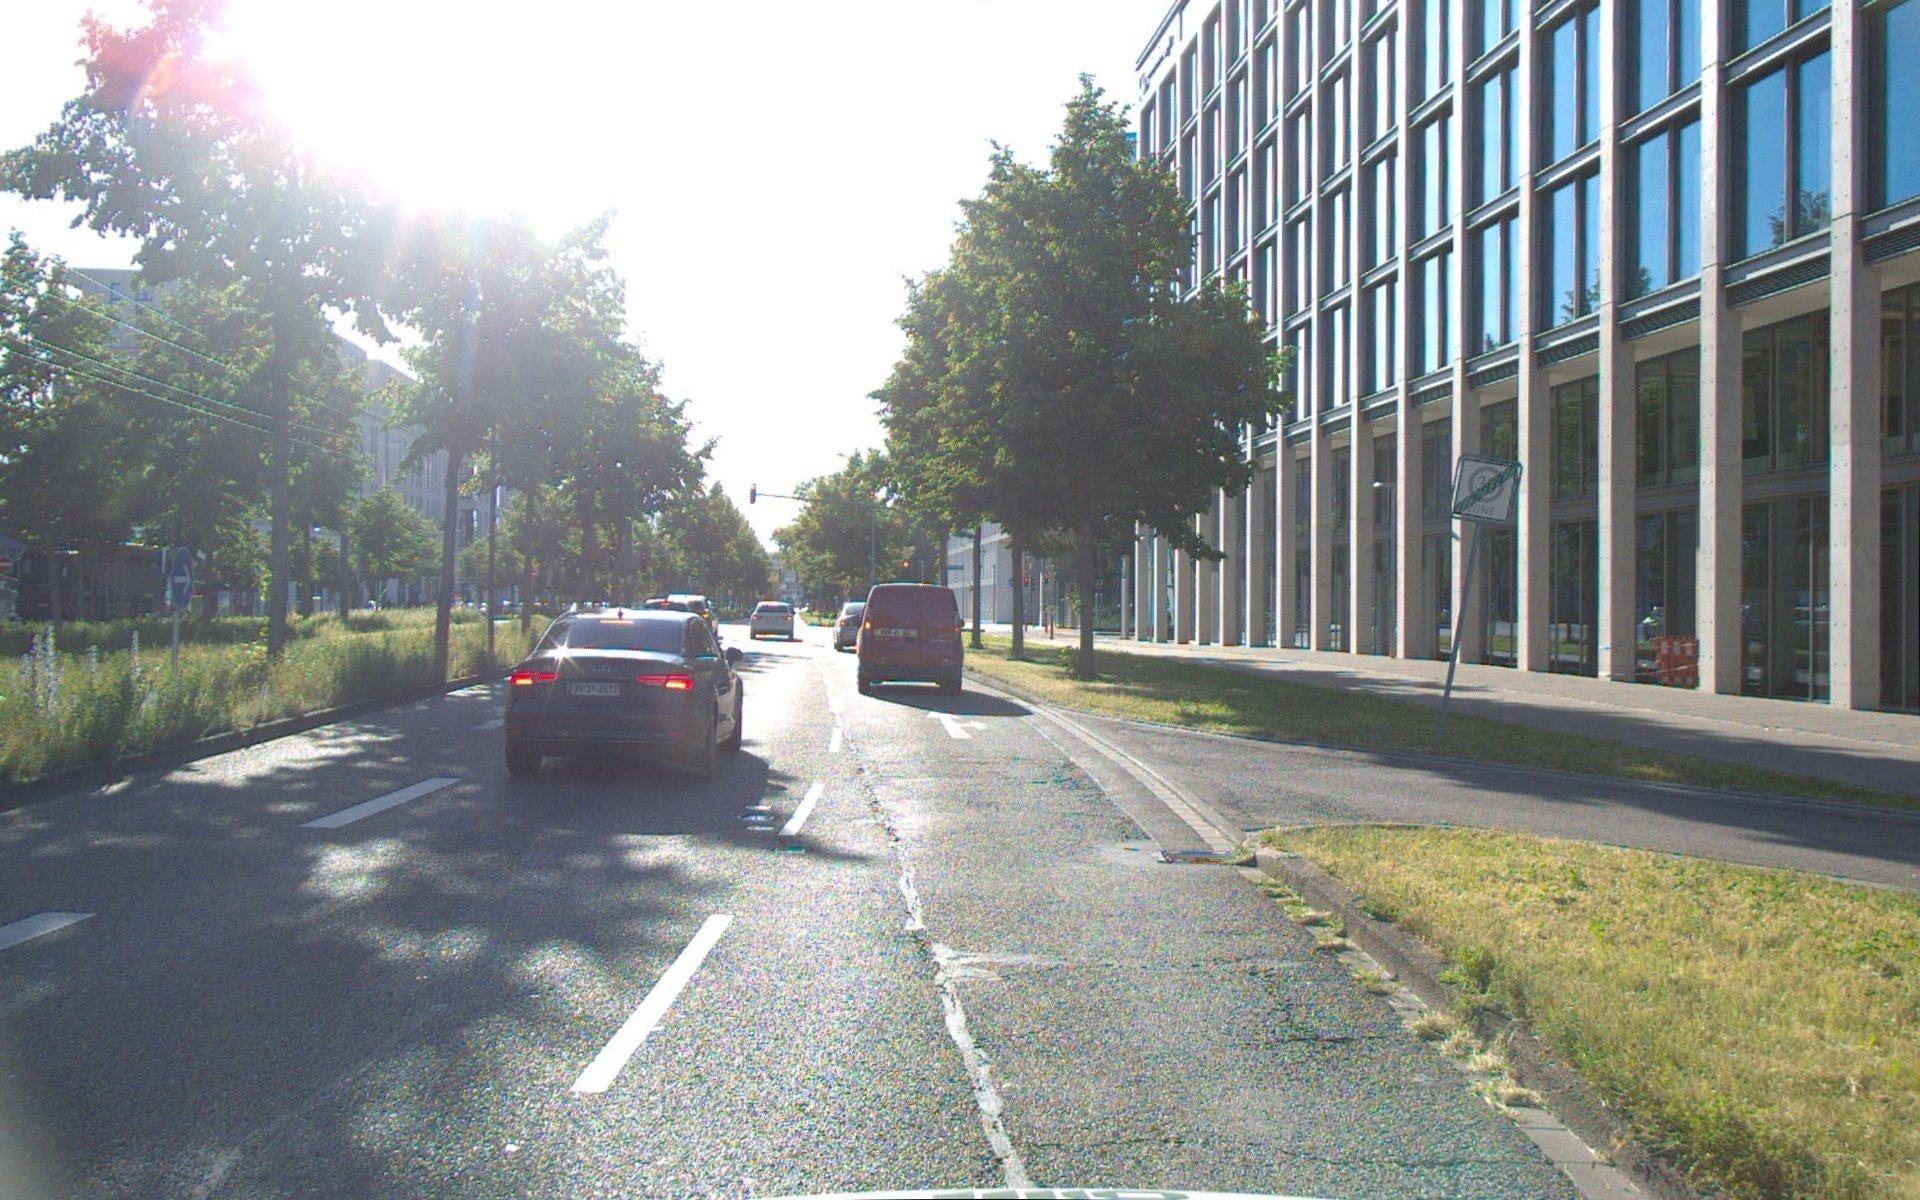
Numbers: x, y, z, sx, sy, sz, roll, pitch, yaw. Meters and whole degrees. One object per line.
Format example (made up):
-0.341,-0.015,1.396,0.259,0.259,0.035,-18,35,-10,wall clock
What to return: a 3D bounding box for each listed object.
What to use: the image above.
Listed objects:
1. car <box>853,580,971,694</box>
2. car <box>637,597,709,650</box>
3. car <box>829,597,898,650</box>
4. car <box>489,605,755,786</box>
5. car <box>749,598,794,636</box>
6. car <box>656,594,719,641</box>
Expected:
-0.897,0.639,28.663,1.763,1.808,3.995,-1,-1,-5,car
-8.402,0.664,48.676,1.906,1.466,3.993,1,0,-8,car
-3.020,0.701,51.059,1.689,1.450,3.808,2,1,-9,car
-2.909,0.756,15.075,1.686,1.390,4.144,1,0,-2,car
-7.399,0.656,65.047,1.688,1.450,3.811,1,0,-6,car
-9.398,0.573,57.356,1.806,1.561,3.936,1,0,-5,car
